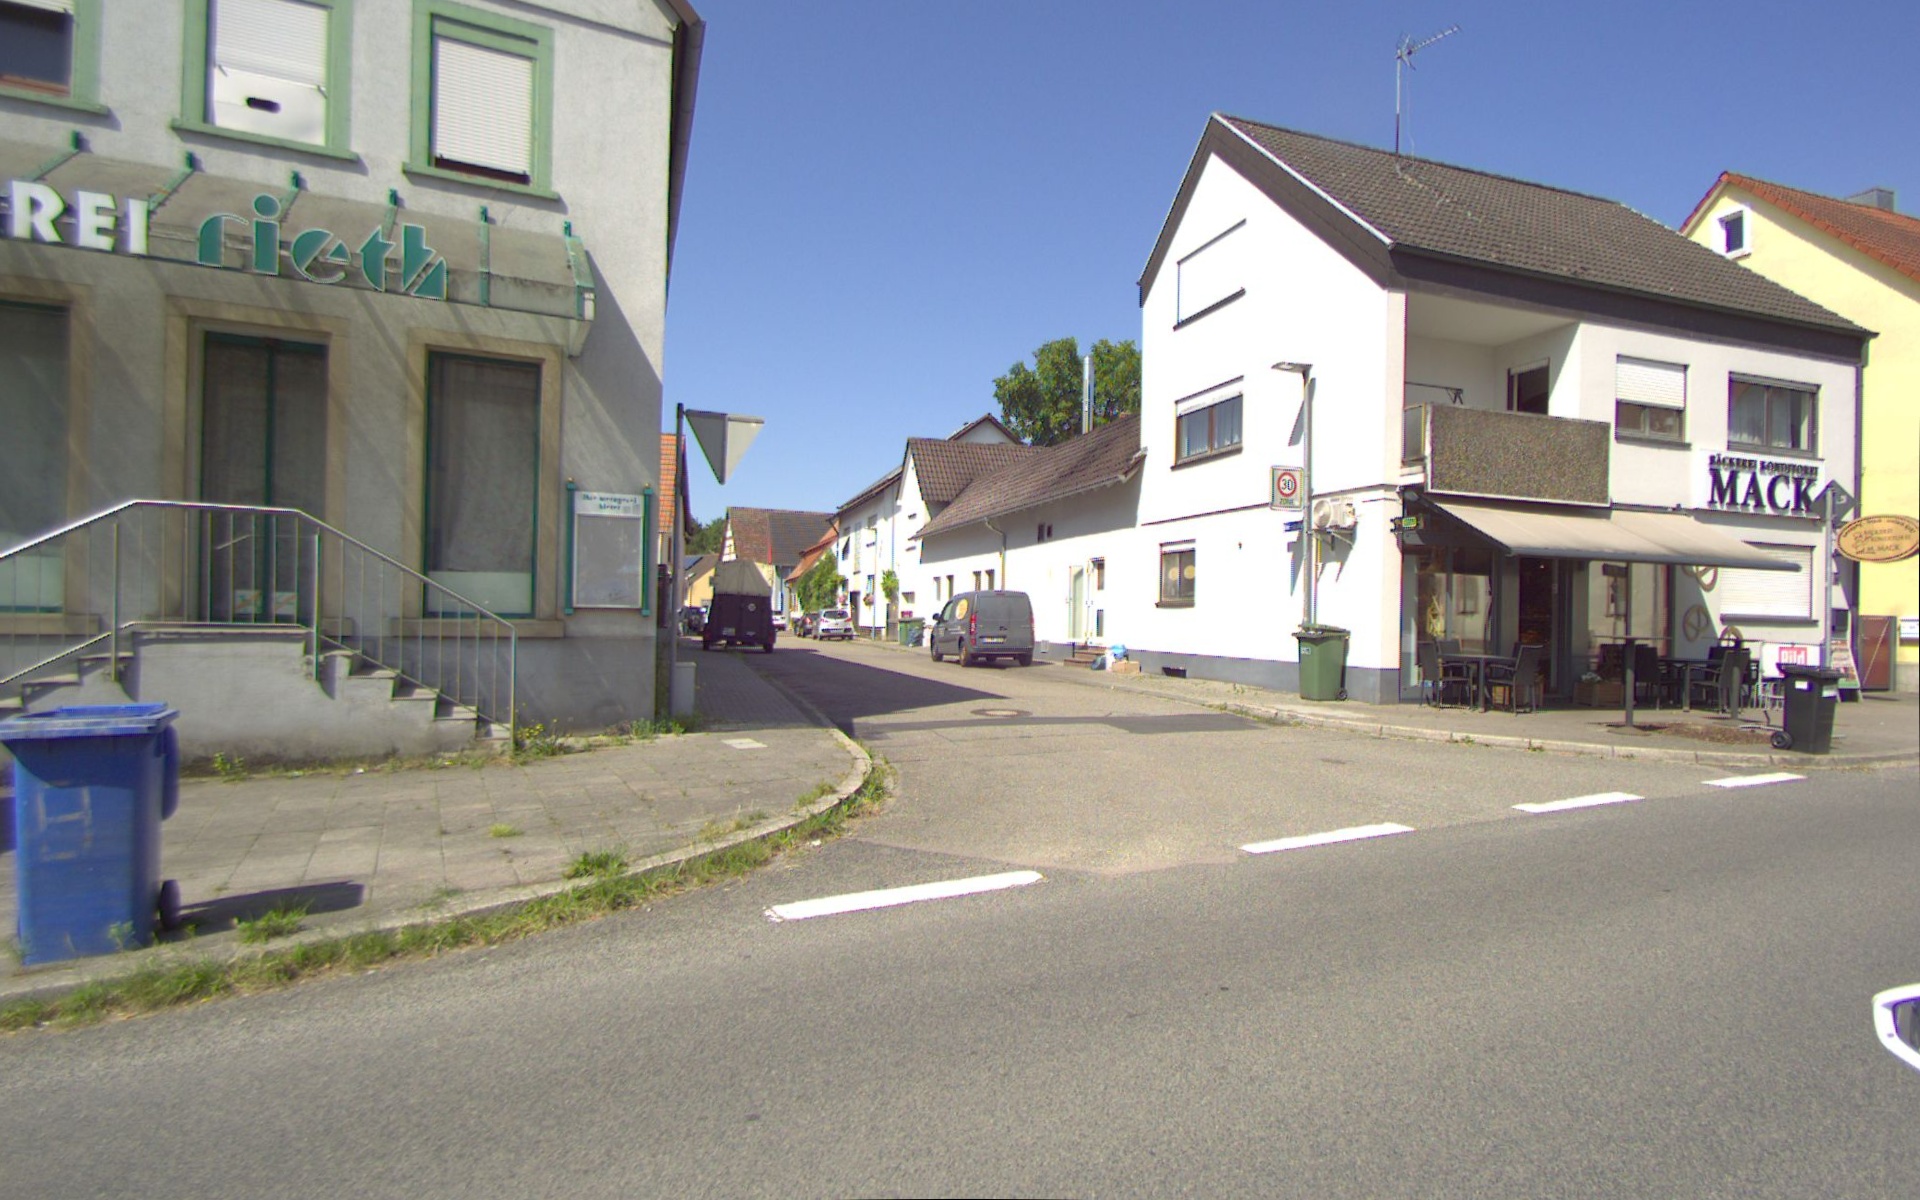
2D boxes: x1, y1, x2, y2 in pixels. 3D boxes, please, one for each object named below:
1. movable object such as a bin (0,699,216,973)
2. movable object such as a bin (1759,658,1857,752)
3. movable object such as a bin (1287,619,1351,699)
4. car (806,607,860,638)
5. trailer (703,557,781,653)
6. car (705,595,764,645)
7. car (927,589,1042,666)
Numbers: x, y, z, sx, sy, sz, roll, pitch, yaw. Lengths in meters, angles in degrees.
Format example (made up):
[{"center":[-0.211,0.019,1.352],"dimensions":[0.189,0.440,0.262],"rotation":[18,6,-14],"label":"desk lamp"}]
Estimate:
[{"center":[-3.307,0.861,3.881],"dimensions":[0.606,0.883,0.639],"rotation":[1,0,-30],"label":"movable object such as a bin"},{"center":[9.169,1.115,10.864],"dimensions":[0.606,0.936,0.639],"rotation":[1,0,-30],"label":"movable object such as a bin"},{"center":[5.421,0.879,15.183],"dimensions":[0.634,1.153,0.671],"rotation":[1,0,-18],"label":"movable object such as a bin"},{"center":[-6.218,1.064,48.826],"dimensions":[1.967,1.417,3.986],"rotation":[1,0,-16],"label":"car"},{"center":[-6.750,0.168,30.851],"dimensions":[2.024,2.708,3.987],"rotation":[2,-1,-15],"label":"trailer"},{"center":[-8.265,0.714,36.630],"dimensions":[1.966,1.706,3.988],"rotation":[1,-1,-14],"label":"car"},{"center":[0.534,0.650,25.306],"dimensions":[1.843,1.782,3.750],"rotation":[1,0,-16],"label":"car"}]
